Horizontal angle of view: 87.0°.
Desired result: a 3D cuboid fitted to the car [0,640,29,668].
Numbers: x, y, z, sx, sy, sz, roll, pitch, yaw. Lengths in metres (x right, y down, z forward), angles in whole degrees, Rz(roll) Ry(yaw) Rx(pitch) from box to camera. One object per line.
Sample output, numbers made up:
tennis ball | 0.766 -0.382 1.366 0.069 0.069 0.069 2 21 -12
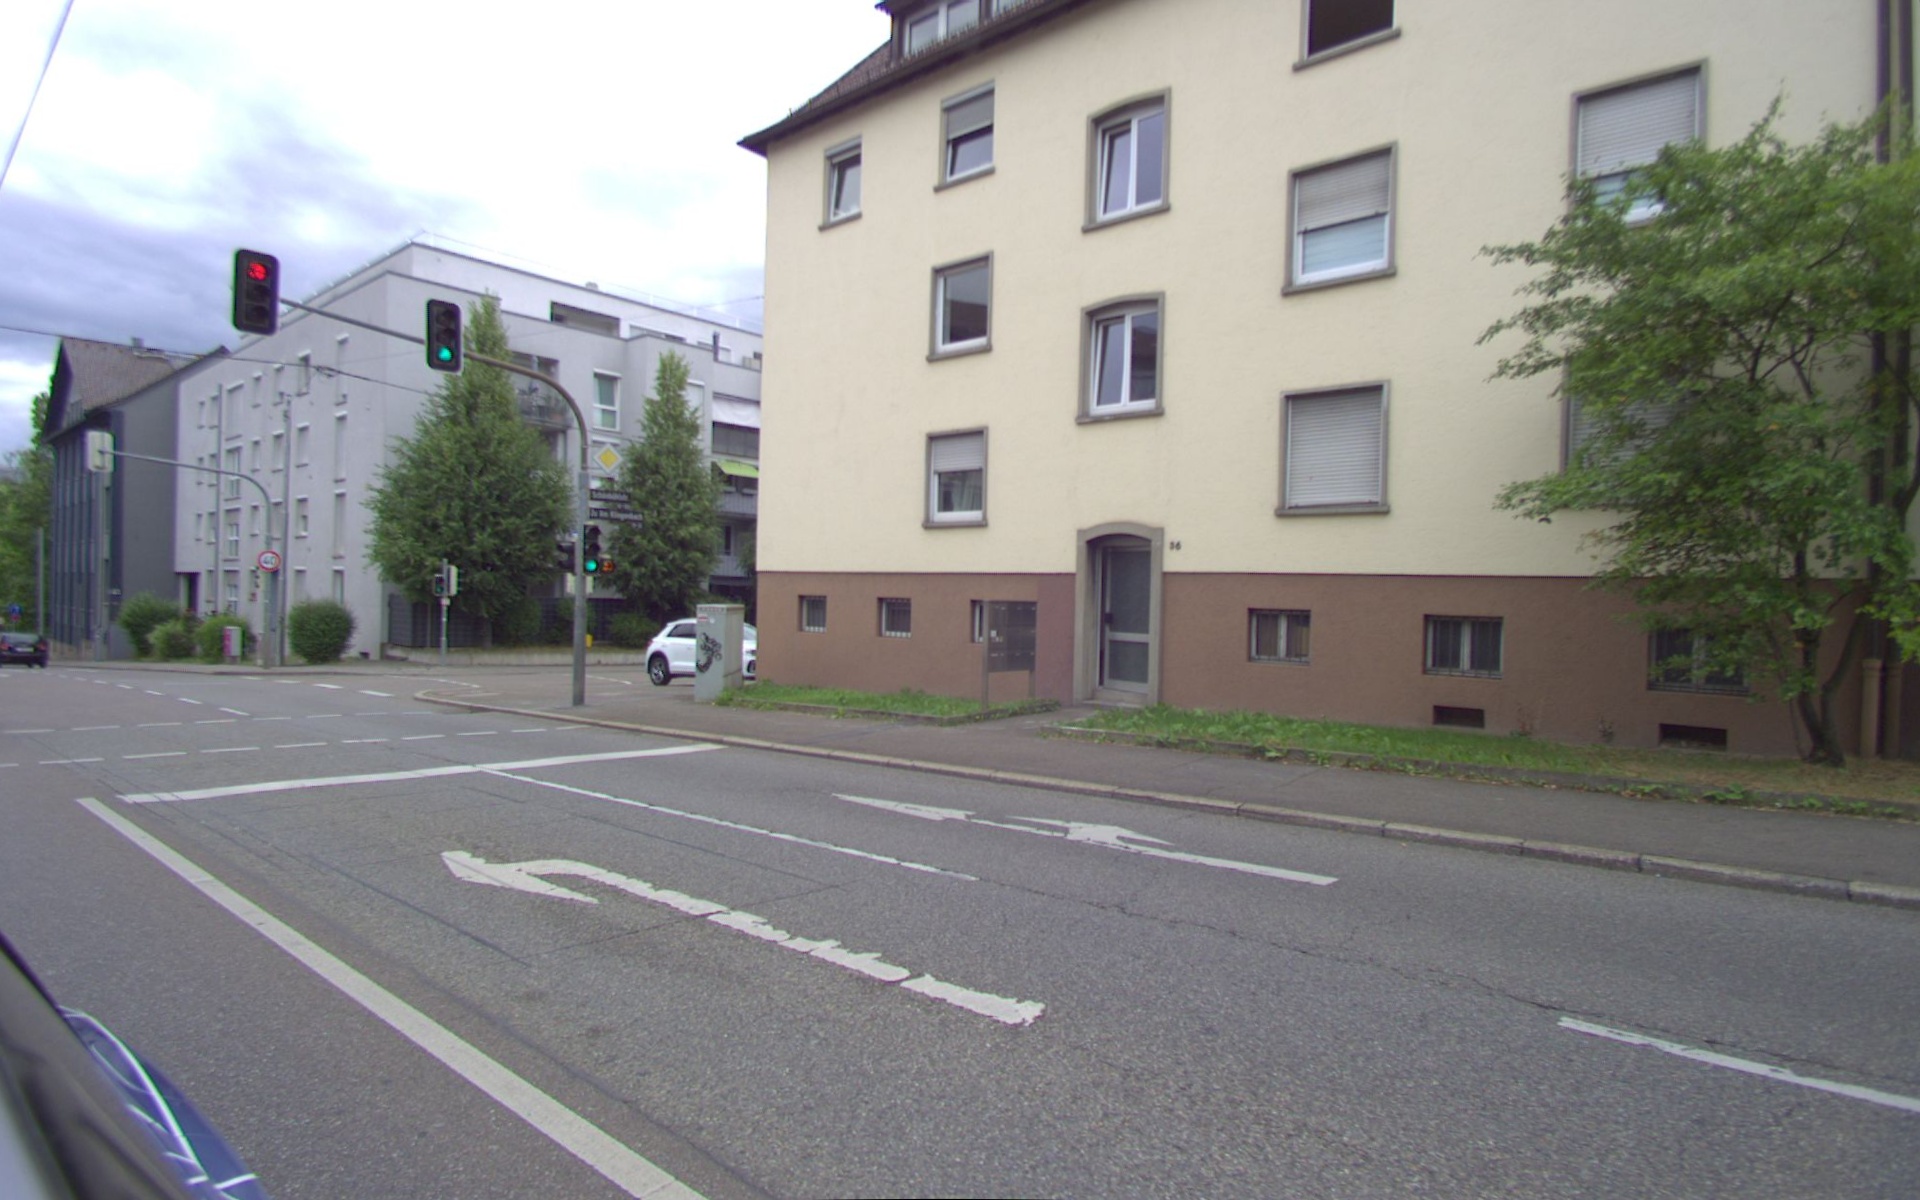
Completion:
car | -51.490 2.873 54.355 3.999 1.420 1.776 -2 -3 42

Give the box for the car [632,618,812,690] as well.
car | -5.582 1.277 23.555 4.253 1.549 1.797 -3 -4 37

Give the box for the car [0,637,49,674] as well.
car | -39.322 2.268 42.197 3.614 1.475 1.570 -2 -3 42

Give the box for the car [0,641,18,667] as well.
car | -55.741 3.102 58.329 3.999 1.420 1.776 -2 -3 42
